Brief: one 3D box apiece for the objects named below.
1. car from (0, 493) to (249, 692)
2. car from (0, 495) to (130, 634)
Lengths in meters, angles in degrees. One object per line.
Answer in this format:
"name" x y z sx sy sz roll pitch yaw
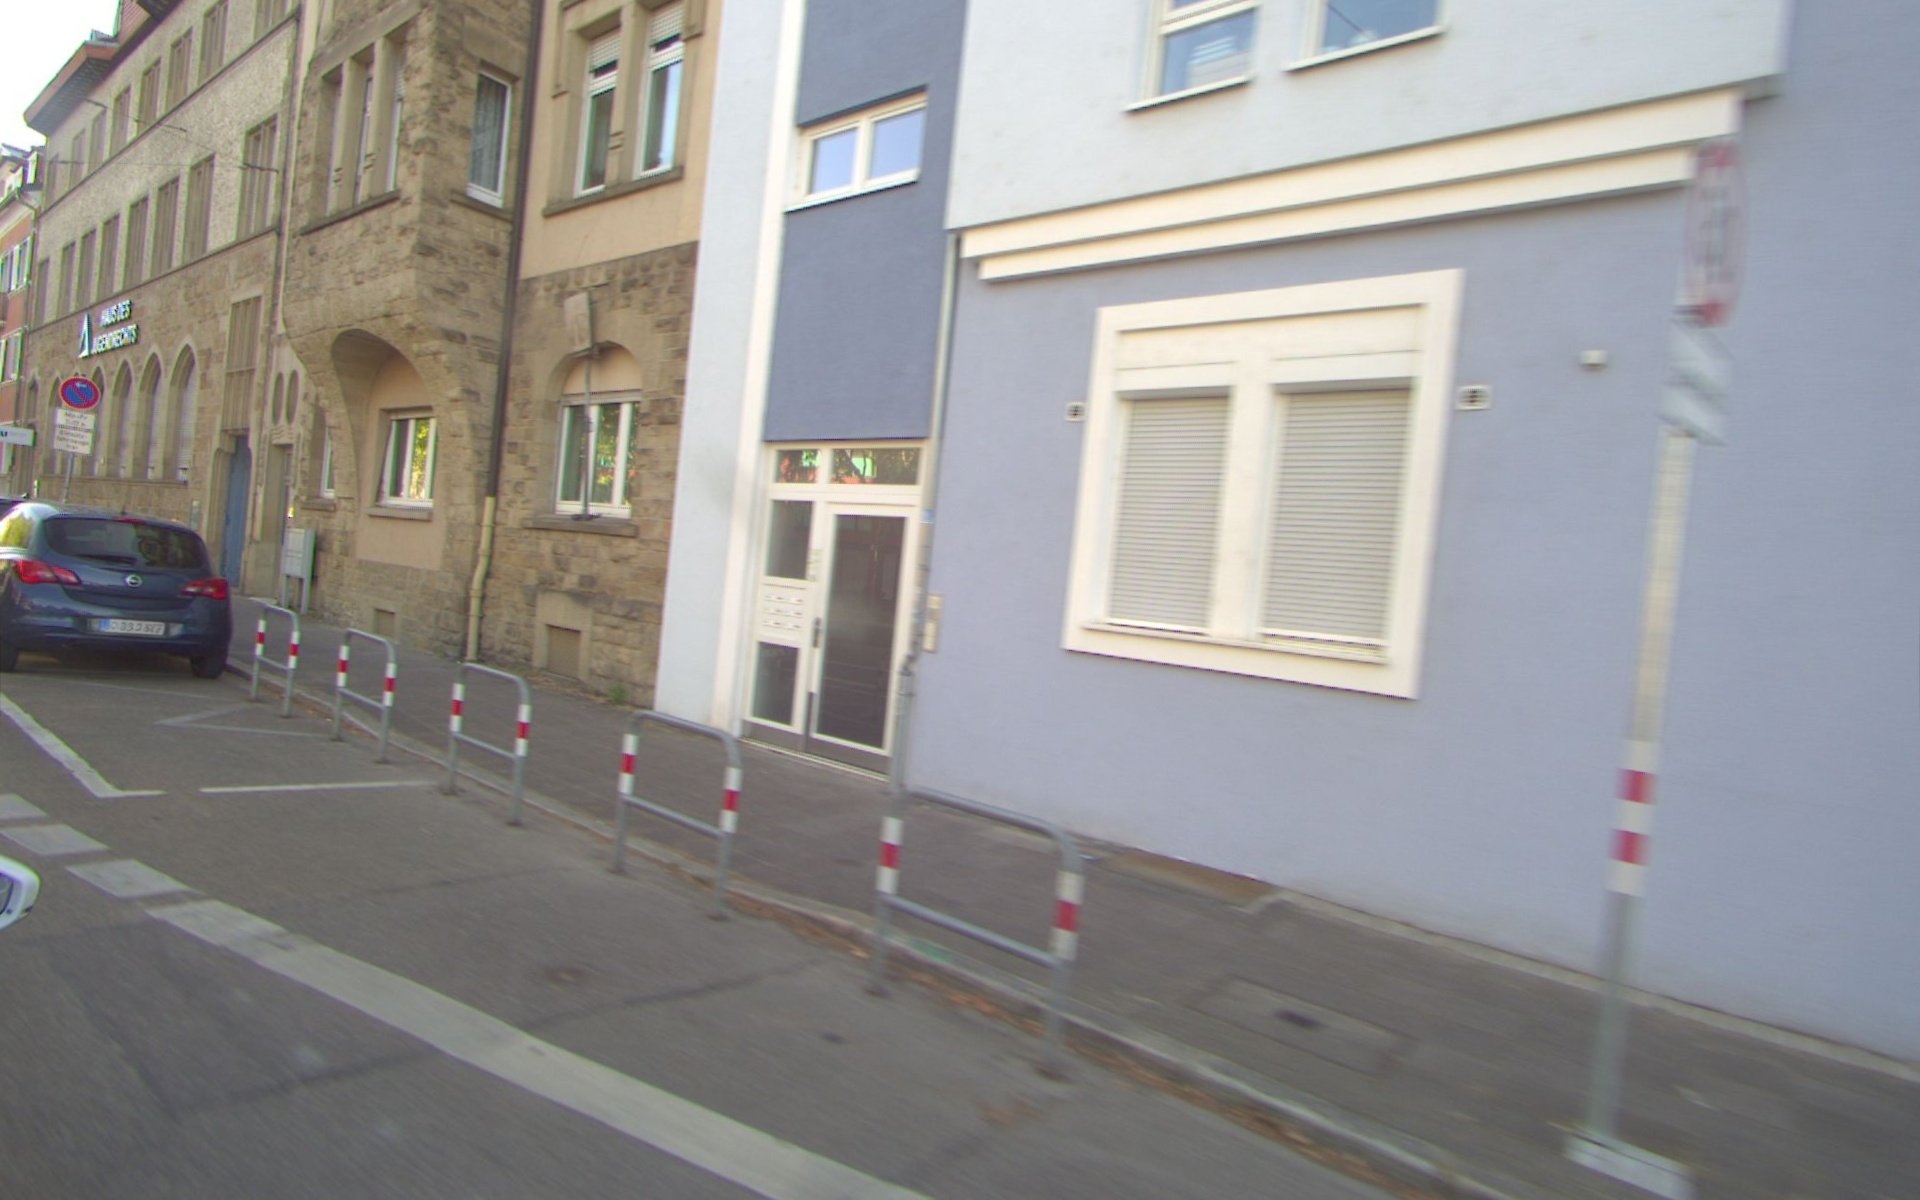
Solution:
"car" -8.464 -0.171 9.565 3.941 1.500 1.654 6 -1 39
"car" -12.540 -0.597 13.185 4.136 1.518 1.752 6 -2 40
